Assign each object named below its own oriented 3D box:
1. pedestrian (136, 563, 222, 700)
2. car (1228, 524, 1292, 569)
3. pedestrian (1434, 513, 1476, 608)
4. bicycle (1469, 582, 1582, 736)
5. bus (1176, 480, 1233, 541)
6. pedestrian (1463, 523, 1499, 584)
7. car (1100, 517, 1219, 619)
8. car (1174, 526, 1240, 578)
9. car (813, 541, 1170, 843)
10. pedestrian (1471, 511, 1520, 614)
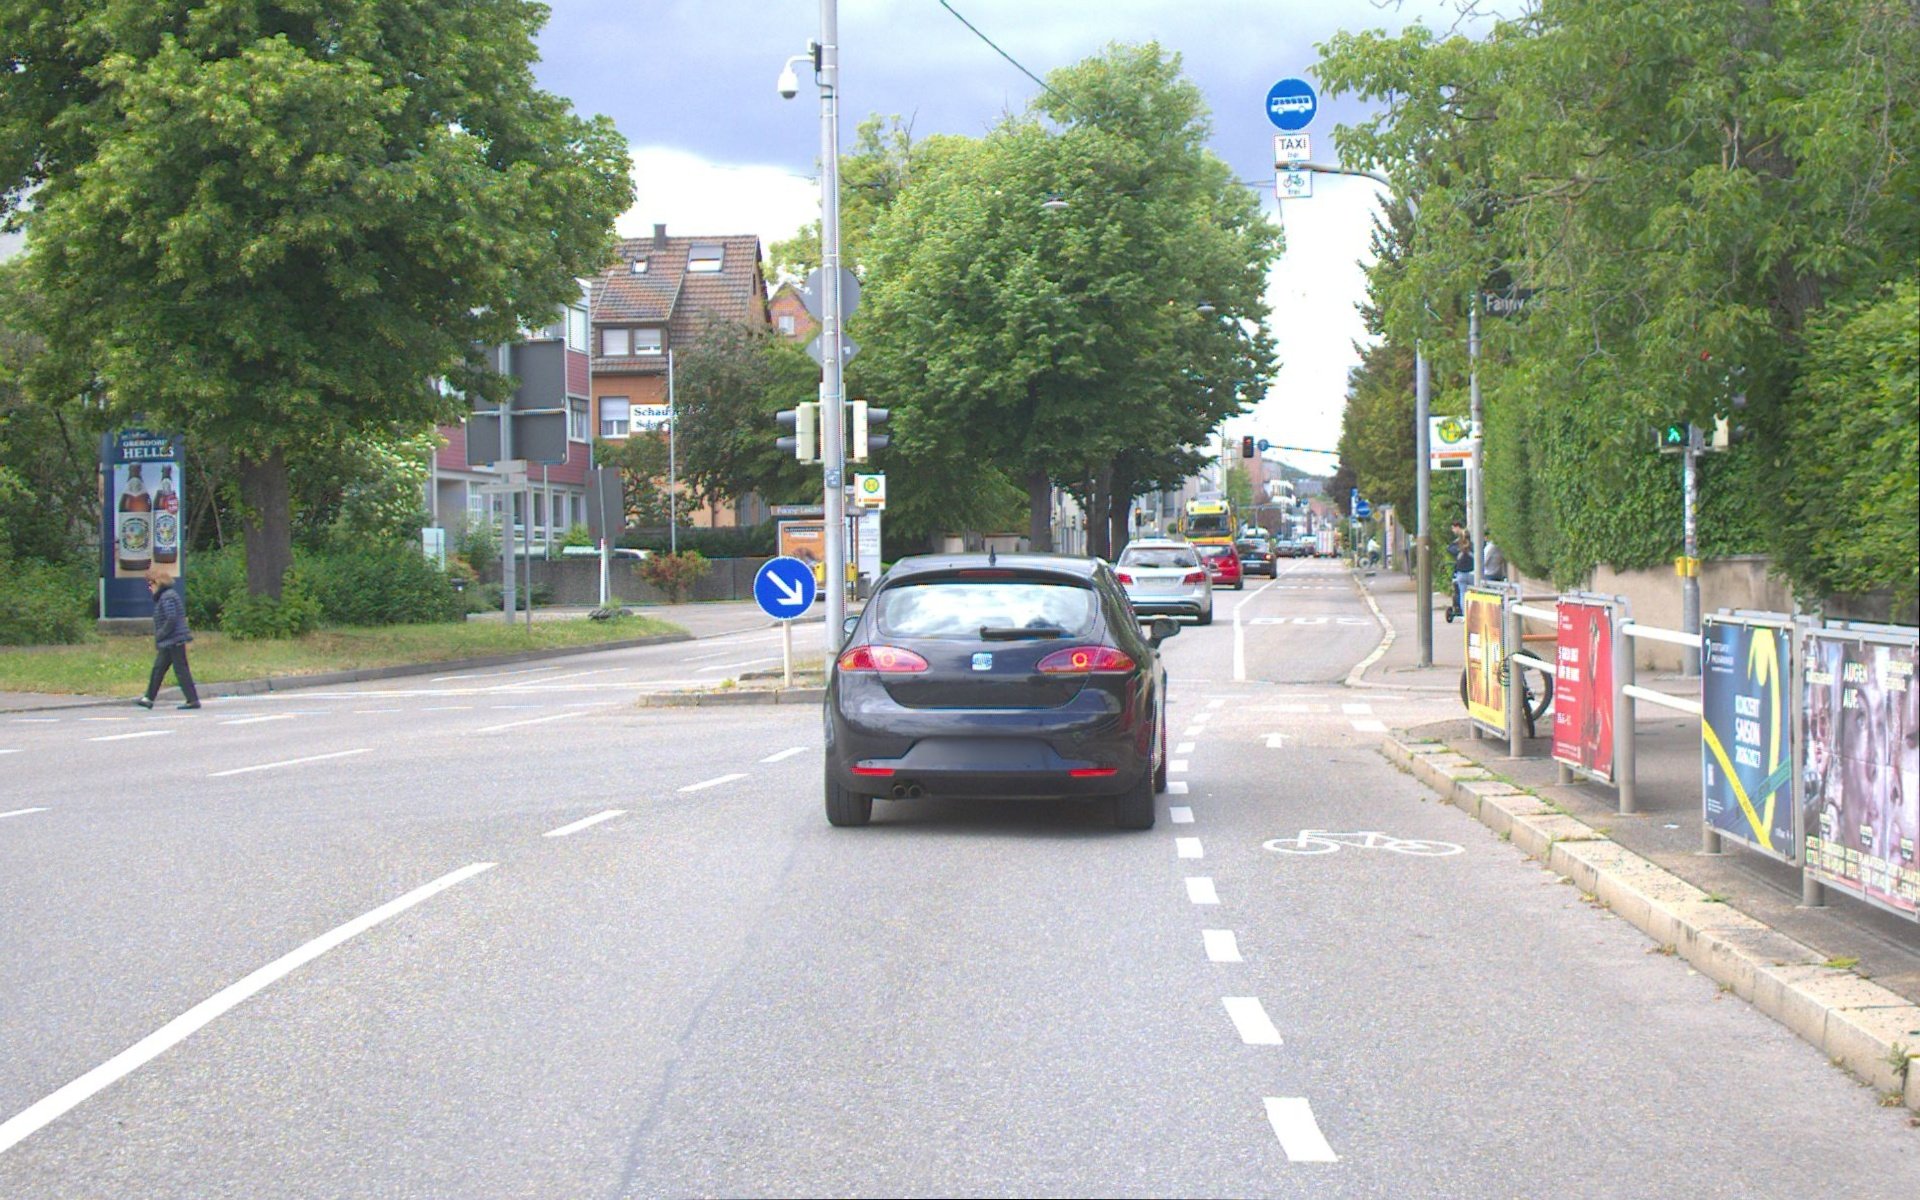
[{"bbox_3d":[-8.242,0.325,36.315,0.773,1.403,0.601,-2,1,-7],"label":"pedestrian"},{"bbox_3d":[11.607,-2.089,132.883,1.994,1.678,3.998,-1,1,12],"label":"car"},{"bbox_3d":[8.121,-0.655,56.368,0.550,1.512,0.361,-3,2,15],"label":"pedestrian"},{"bbox_3d":[3.991,0.403,24.345,0.628,1.025,1.504,-1,1,3],"label":"bicycle"},{"bbox_3d":[13.059,-4.760,183.479,2.869,3.125,6.396,-1,1,5],"label":"bus"},{"bbox_3d":[8.567,-0.770,56.535,0.454,0.961,0.383,-5,1,0],"label":"pedestrian"},{"bbox_3d":[3.611,-0.606,61.684,1.819,1.693,4.252,-2,2,7],"label":"car"},{"bbox_3d":[7.483,-1.477,104.468,1.941,1.476,4.253,-2,2,4],"label":"car"},{"bbox_3d":[0.230,0.427,19.030,1.759,1.444,3.714,1,2,2],"label":"car"},{"bbox_3d":[8.299,-0.587,53.323,0.543,1.550,0.471,-5,1,-2],"label":"pedestrian"}]
